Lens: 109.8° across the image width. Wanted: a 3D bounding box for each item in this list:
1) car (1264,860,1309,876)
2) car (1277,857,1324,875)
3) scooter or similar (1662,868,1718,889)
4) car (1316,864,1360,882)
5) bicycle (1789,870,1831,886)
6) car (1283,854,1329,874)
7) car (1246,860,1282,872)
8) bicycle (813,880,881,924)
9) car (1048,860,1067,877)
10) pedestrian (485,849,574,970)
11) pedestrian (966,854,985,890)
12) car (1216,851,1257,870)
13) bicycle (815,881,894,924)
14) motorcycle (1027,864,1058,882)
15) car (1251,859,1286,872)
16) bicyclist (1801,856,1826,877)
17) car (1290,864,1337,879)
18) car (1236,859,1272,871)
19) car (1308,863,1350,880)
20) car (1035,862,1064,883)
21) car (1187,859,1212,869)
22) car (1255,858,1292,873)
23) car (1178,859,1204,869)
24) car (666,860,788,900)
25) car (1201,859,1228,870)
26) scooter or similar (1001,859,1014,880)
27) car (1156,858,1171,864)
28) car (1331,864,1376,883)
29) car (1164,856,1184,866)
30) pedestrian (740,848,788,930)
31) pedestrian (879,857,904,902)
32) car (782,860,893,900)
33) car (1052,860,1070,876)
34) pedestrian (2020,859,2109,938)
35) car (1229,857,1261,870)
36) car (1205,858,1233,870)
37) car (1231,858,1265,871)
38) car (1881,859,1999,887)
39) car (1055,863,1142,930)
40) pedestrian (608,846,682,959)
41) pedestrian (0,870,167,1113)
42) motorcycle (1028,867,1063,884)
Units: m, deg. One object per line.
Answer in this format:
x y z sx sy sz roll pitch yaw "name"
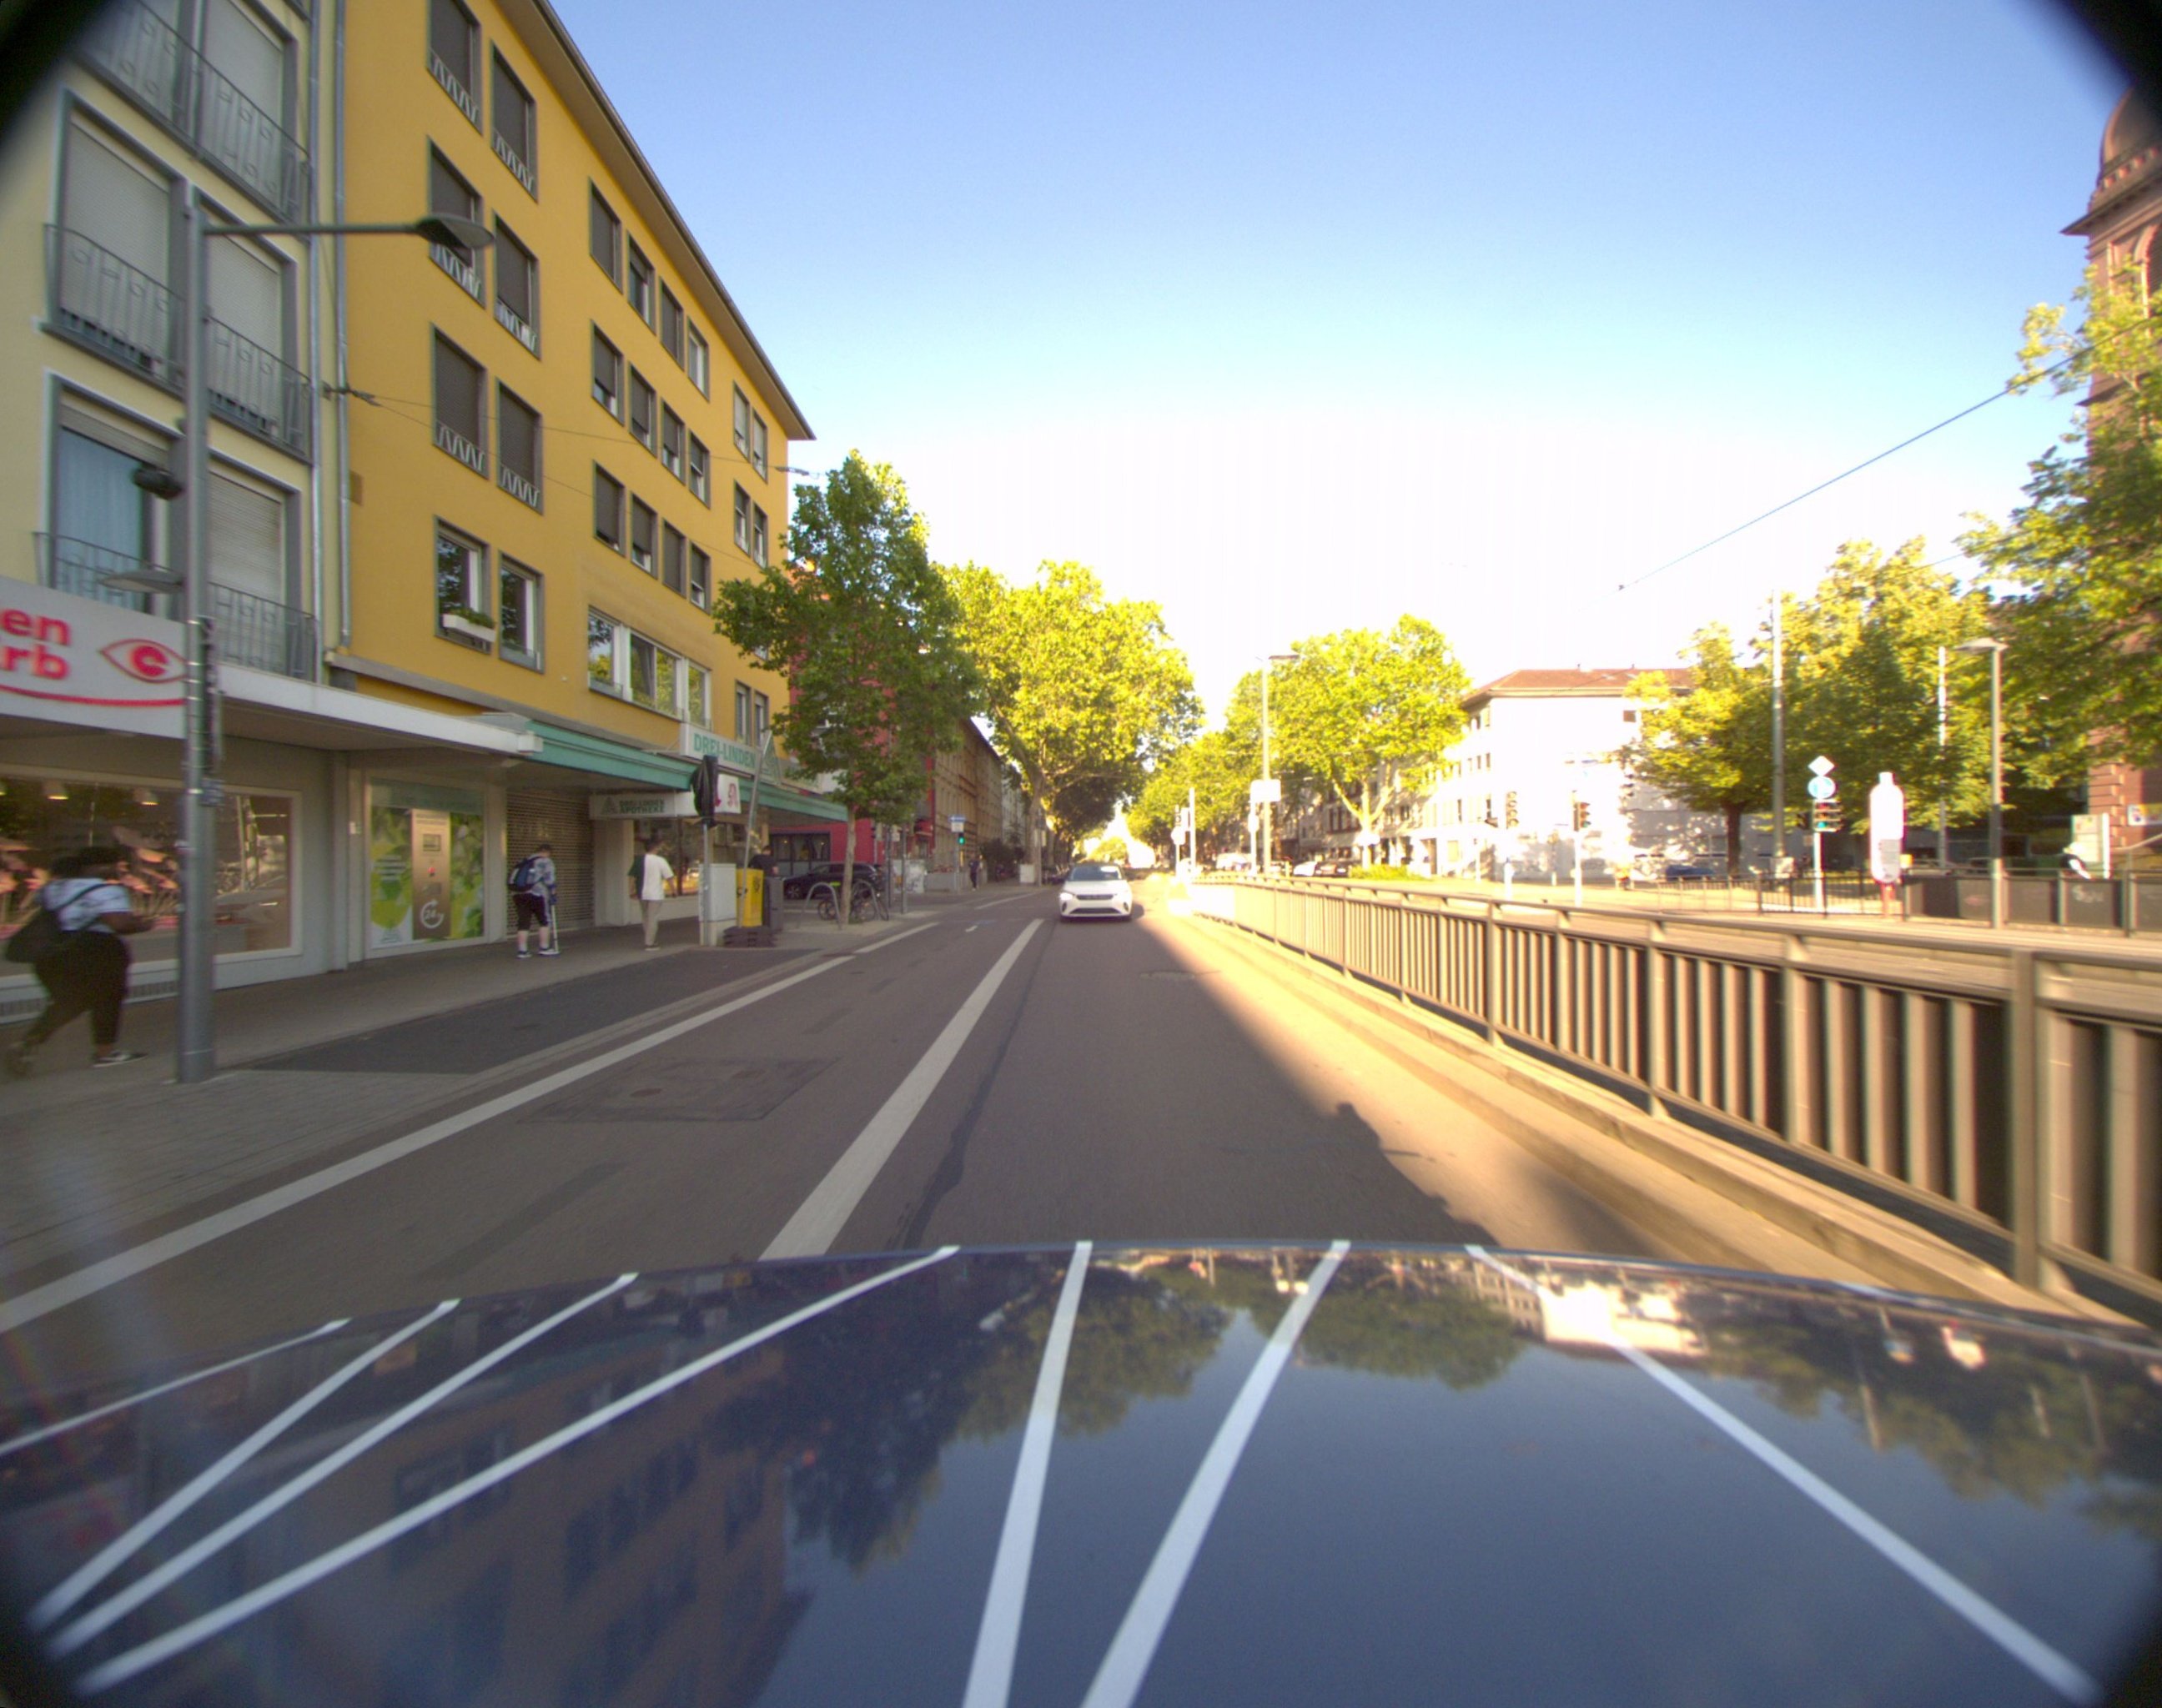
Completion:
21.229 1.413 78.653 4.260 1.548 1.641 0 0 -15 "car"
21.281 1.166 73.736 4.265 1.674 2.148 0 0 -34 "car"
33.023 1.309 41.253 1.096 1.119 2.448 0 0 1 "scooter or similar"
21.959 1.585 64.841 3.979 1.423 1.738 0 -2 -42 "car"
45.762 1.500 47.715 1.988 0.974 0.633 -1 0 1 "bicycle"
22.804 0.983 77.051 4.260 1.932 1.515 0 0 -15 "car"
22.389 1.412 92.966 4.265 1.449 1.902 0 0 -35 "car"
-5.661 1.164 18.451 1.487 1.002 0.454 1 0 -3 "bicycle"
-2.331 1.432 76.970 1.802 1.599 4.370 2 0 0 "car"
-8.094 0.791 11.189 0.725 1.713 0.766 0 1 0 "pedestrian"
-5.215 0.884 37.616 0.728 1.701 0.816 2 1 1 "pedestrian"
22.458 0.875 109.600 5.619 2.684 2.176 0 0 -24 "car"
-5.647 1.217 19.001 1.803 1.002 0.541 1 0 -3 "bicycle"
-2.424 1.220 48.335 1.895 1.104 0.783 3 -2 -42 "motorcycle"
22.124 1.312 89.688 4.265 1.451 1.598 0 0 -35 "car"
45.975 0.765 47.708 0.968 1.323 0.633 -1 0 1 "bicyclist"
21.550 1.598 70.405 4.266 1.369 2.147 0 0 -40 "car"
22.075 1.417 97.162 4.004 1.509 1.997 0 0 -20 "car"
22.208 1.544 67.879 3.979 1.495 1.827 0 0 -42 "car"
-2.247 1.338 55.759 1.802 1.393 4.370 2 0 1 "car"
20.702 1.710 132.590 4.005 1.696 1.996 0 0 -26 "car"
21.926 1.299 86.367 4.266 1.604 1.902 0 0 -40 "car"
19.657 1.780 136.082 4.234 1.696 1.999 0 0 -3 "car"
-15.808 1.153 34.083 4.613 1.730 1.772 0 0 0 "car"
22.011 1.665 125.041 4.005 1.805 1.996 0 0 -26 "car"
-5.269 1.096 54.710 0.666 1.461 2.545 0 0 1 "scooter or similar"
22.349 1.901 205.671 3.994 1.802 1.875 -1 0 10 "car"
22.011 1.558 61.298 3.979 1.423 1.767 0 0 -42 "car"
22.246 1.709 181.976 4.952 2.200 2.096 0 0 -42 "car"
-7.083 0.757 17.014 0.725 1.796 0.766 0 1 0 "pedestrian"
-7.648 1.017 30.650 0.745 1.770 0.894 0 3 0 "pedestrian"
-10.806 1.142 33.955 4.352 1.676 1.772 0 0 0 "car"
-2.217 1.532 84.395 1.802 1.599 4.370 2 0 0 "car"
22.544 0.996 17.439 0.921 1.749 0.832 -1 0 2 "pedestrian"
23.040 1.308 106.878 4.006 1.805 1.996 0 0 -26 "car"
22.169 1.633 121.767 4.005 1.805 1.996 0 0 -26 "car"
22.005 1.342 100.291 4.005 1.608 1.996 0 0 -26 "car"
45.771 1.009 40.606 1.815 1.389 4.001 0 -1 1 "car"
0.370 0.945 18.603 1.865 1.394 3.932 -2 0 0 "car"
-7.037 0.765 12.293 0.725 1.768 0.766 0 1 0 "pedestrian"
-7.315 0.911 5.384 0.612 1.569 0.851 0 1 0 "pedestrian"
-2.380 1.433 50.463 2.217 1.104 0.663 2 -2 -26 "motorcycle"
